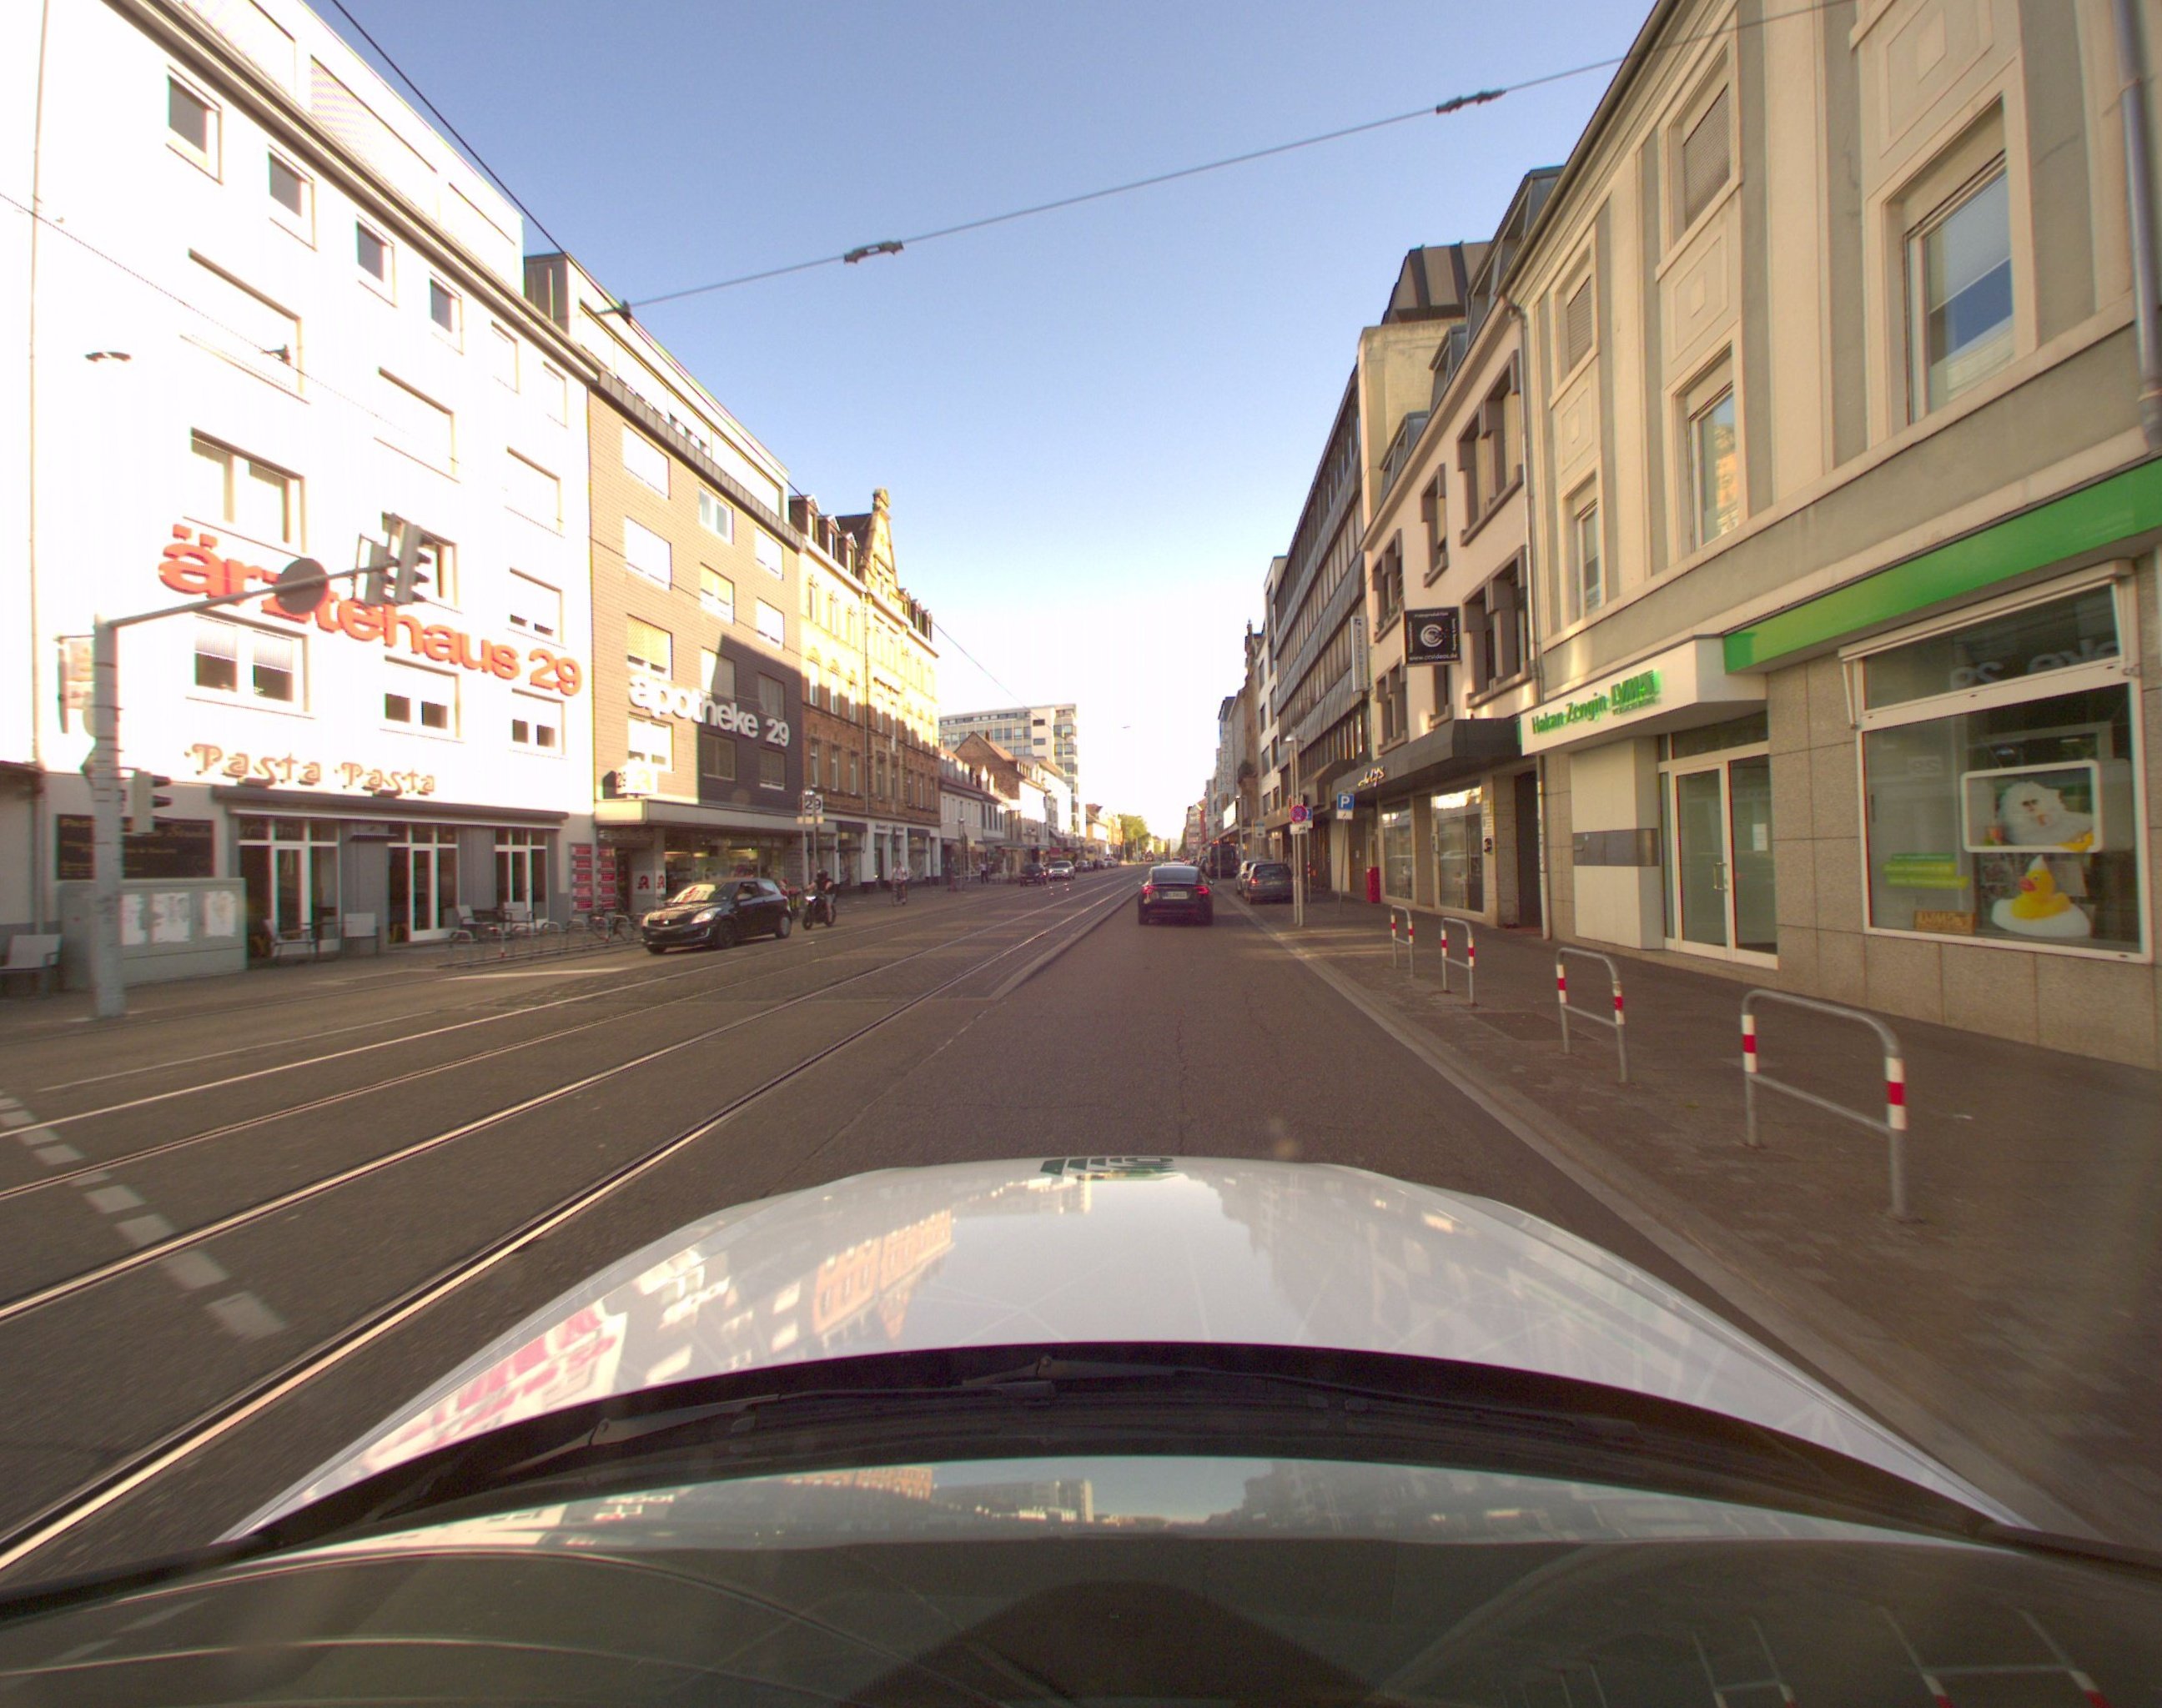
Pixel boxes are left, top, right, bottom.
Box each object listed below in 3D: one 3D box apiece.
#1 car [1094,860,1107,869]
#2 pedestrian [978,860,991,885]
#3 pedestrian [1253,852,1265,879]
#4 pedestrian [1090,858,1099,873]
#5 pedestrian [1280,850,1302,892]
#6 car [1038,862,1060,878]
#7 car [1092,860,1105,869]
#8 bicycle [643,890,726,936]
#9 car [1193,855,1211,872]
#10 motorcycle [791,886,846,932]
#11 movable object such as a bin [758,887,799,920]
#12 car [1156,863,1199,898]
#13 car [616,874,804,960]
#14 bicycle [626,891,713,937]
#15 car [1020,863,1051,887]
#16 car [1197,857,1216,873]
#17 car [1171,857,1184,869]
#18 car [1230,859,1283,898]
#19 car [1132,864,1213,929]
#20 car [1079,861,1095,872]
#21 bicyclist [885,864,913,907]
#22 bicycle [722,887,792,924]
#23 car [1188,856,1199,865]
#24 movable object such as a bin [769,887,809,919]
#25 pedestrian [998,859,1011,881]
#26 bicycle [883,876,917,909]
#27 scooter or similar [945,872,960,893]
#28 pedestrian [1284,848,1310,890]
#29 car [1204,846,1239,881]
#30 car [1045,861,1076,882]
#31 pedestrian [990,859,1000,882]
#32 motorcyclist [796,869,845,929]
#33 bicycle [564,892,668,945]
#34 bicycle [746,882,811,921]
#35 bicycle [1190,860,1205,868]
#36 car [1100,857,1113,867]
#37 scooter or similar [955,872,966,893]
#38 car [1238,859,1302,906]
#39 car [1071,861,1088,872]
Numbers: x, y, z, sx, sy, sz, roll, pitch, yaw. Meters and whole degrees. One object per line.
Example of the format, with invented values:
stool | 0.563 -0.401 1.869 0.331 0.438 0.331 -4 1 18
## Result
car | 3.444 1.813 141.881 1.759 1.508 3.981 -2 0 9
pedestrian | -7.184 1.366 60.582 0.608 1.775 0.722 -2 -1 20
pedestrian | 11.217 0.719 51.342 0.553 1.714 0.956 -4 -1 5
pedestrian | 1.770 1.509 106.903 0.764 1.849 0.833 -2 -1 36
pedestrian | 9.151 0.735 35.522 0.775 1.752 1.034 -2 -1 7
car | -3.316 1.637 84.755 1.665 1.546 3.752 0 0 9
car | 2.935 1.740 135.938 1.708 1.571 3.858 -2 0 9
bicycle | -11.072 1.639 22.786 1.927 1.192 0.774 -2 -1 1
car | 13.272 1.023 89.179 1.811 1.871 3.761 -1 0 7
motorcycle | -7.194 1.498 22.446 0.567 1.120 2.121 -3 -1 7
movable object such as a bin | -10.267 1.687 27.649 1.093 1.072 0.736 0 0 7
car | 4.266 1.129 36.252 1.753 1.419 4.362 -2 -1 6
car | -7.871 1.276 17.782 1.704 1.446 4.147 -4 0 7
bicycle | -11.100 1.606 22.002 1.927 1.172 0.774 0 -1 1
car | -3.108 1.401 56.270 1.639 1.566 2.835 -2 -1 7
car | 12.744 1.063 83.050 1.742 1.499 3.761 -2 0 7
car | 15.655 1.448 132.197 2.074 1.871 3.761 -1 0 7
car | 7.278 0.968 34.070 1.736 1.462 4.304 -2 -1 7
car | 2.425 1.032 21.281 1.859 1.427 4.373 -1 0 7
car | 0.903 1.791 118.795 1.759 1.508 3.871 -2 0 10
bicyclist | -7.617 1.306 34.068 0.746 1.729 1.148 -2 -1 8
bicycle | -10.446 1.659 26.305 1.927 1.111 0.774 -2 -1 1
car | 20.698 1.198 149.738 1.983 1.543 4.007 -1 -1 7
movable object such as a bin | -10.168 1.691 28.370 1.093 1.063 0.700 0 0 7
pedestrian | -6.206 1.305 65.846 0.882 1.775 0.689 -1 -1 5
bicycle | -7.582 1.580 34.241 0.746 1.293 2.029 -2 -1 7
scooter or similar | -7.757 1.692 49.104 0.576 1.202 1.478 0 0 4
pedestrian | 9.837 0.666 37.096 0.918 1.842 1.001 -4 -1 7
car | 10.745 0.675 62.692 2.160 2.461 5.371 -3 0 6
car | -1.670 1.423 67.184 1.880 1.594 4.271 -3 -1 7
pedestrian | -6.878 1.339 65.212 0.654 1.823 0.642 -1 -1 1
motorcyclist | -7.204 1.222 22.552 0.798 1.558 1.148 -3 -1 7
bicycle | -11.357 1.574 19.946 2.095 1.223 0.774 0 -1 1
bicycle | -10.017 1.573 27.024 1.926 1.190 0.552 -2 -1 2
bicycle | 17.343 1.431 121.056 2.149 1.097 0.687 -2 -1 4
car | 4.929 1.493 155.206 1.998 1.961 4.733 -2 0 7
scooter or similar | -7.274 1.684 49.057 0.362 1.202 1.478 0 0 4
car | 6.652 0.964 29.049 1.837 1.462 4.312 -3 -1 8
car | -0.222 1.734 112.672 1.760 1.508 3.872 -2 0 8
